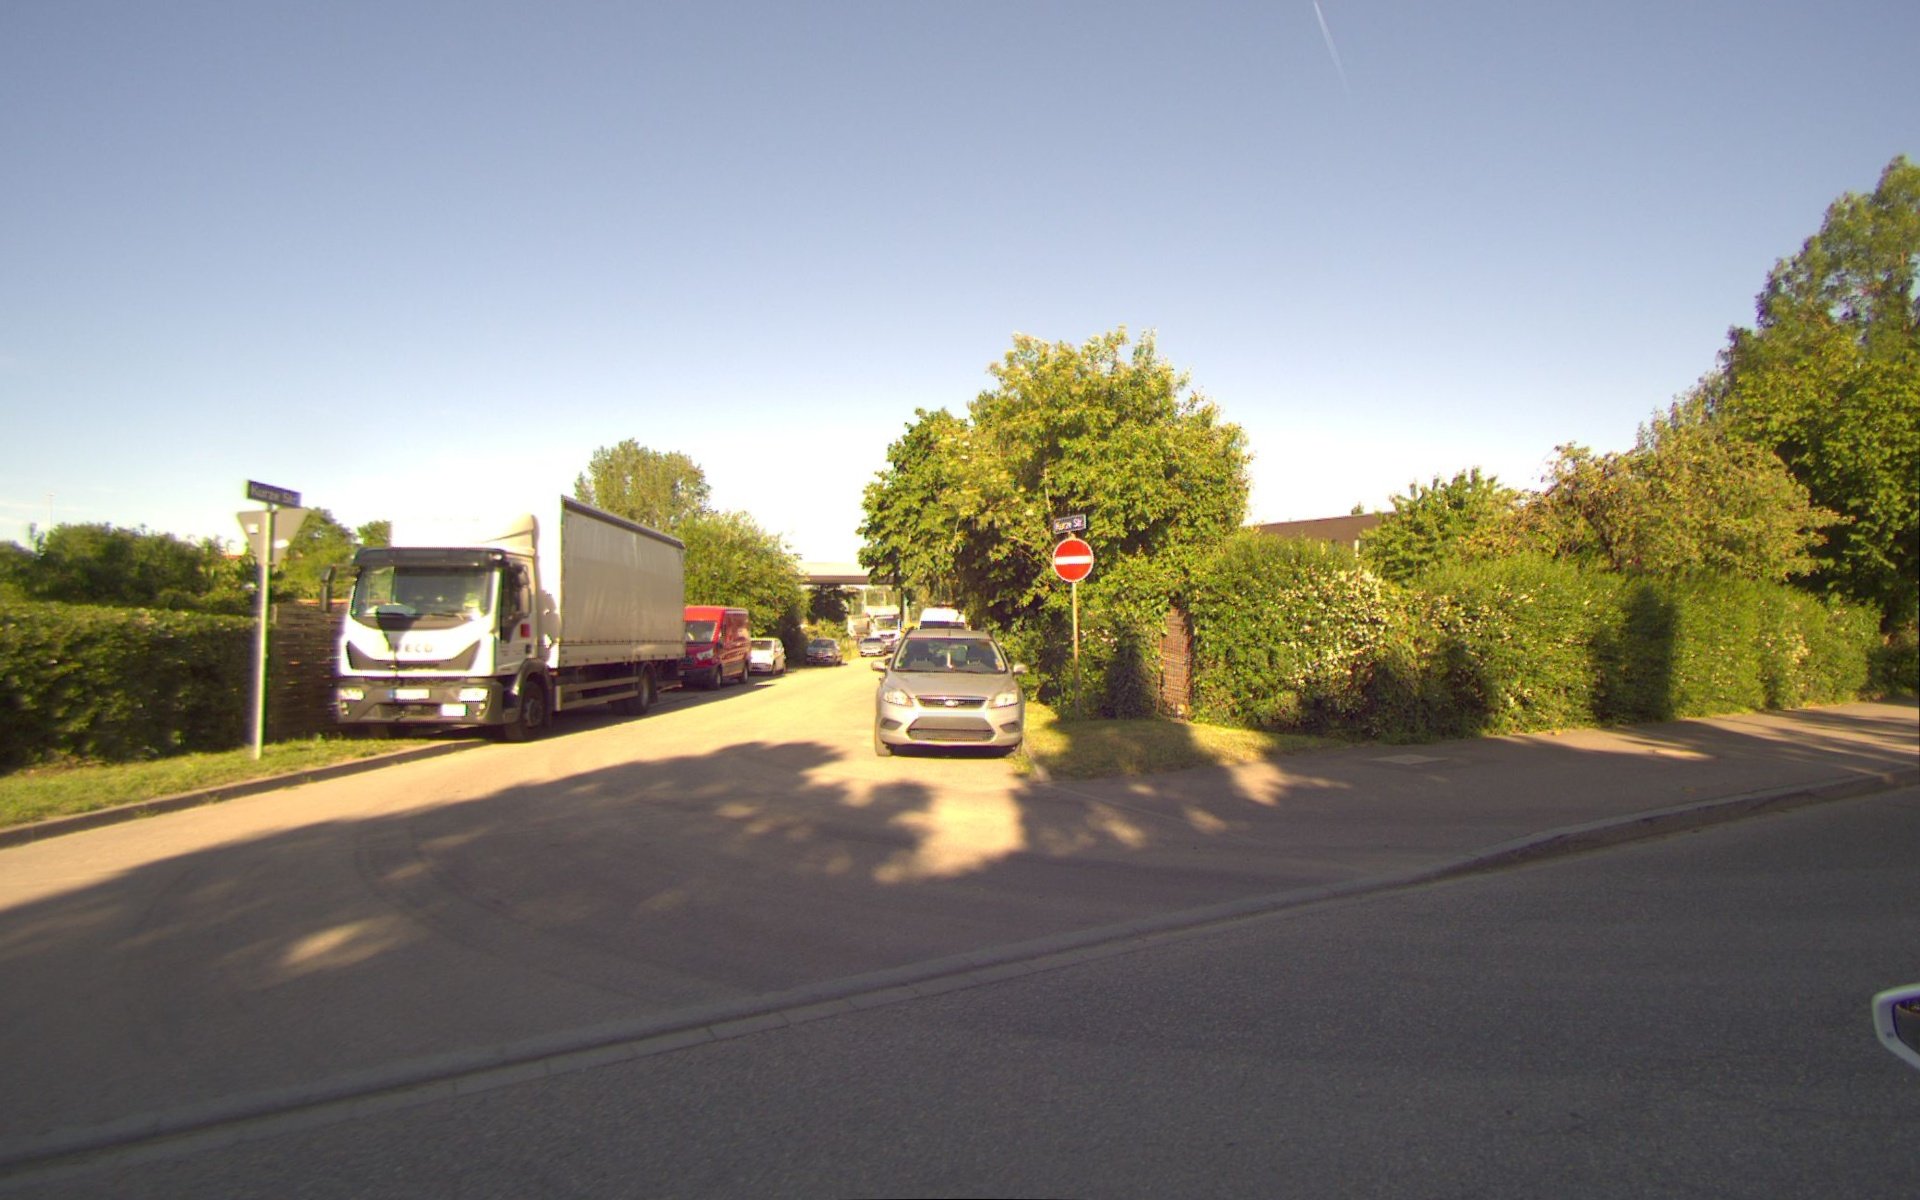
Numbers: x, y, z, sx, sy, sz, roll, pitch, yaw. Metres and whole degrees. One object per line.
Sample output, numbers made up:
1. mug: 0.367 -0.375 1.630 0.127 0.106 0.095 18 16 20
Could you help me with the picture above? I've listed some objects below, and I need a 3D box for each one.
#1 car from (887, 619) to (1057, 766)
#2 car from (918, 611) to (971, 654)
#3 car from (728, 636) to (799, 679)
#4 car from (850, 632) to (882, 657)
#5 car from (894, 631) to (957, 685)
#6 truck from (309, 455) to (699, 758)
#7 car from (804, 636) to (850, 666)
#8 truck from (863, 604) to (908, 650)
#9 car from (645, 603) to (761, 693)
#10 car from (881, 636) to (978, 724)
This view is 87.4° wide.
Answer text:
1. car: 0.029 1.057 13.133 1.840 1.510 4.222 2 0 -3
2. car: -0.650 1.198 38.272 1.840 1.452 3.847 2 0 -3
3. car: -7.713 2.226 39.925 1.876 1.562 4.935 2 -2 -1
4. car: -6.746 3.137 71.734 2.102 1.701 4.161 2 -2 -8
5. car: -1.120 1.798 31.822 1.840 1.452 3.847 2 0 -3
6. truck: -7.234 0.224 17.967 2.658 3.934 9.336 2 -2 0
7. car: -7.264 2.764 55.276 1.876 1.562 4.935 2 -2 -1
8. truck: -6.022 2.053 80.068 2.957 3.438 6.189 2 0 -10
9. car: -7.550 1.400 30.162 2.022 2.383 5.643 2 -2 -1
10. car: -0.619 1.464 19.094 1.612 1.454 4.205 2 -3 -3
